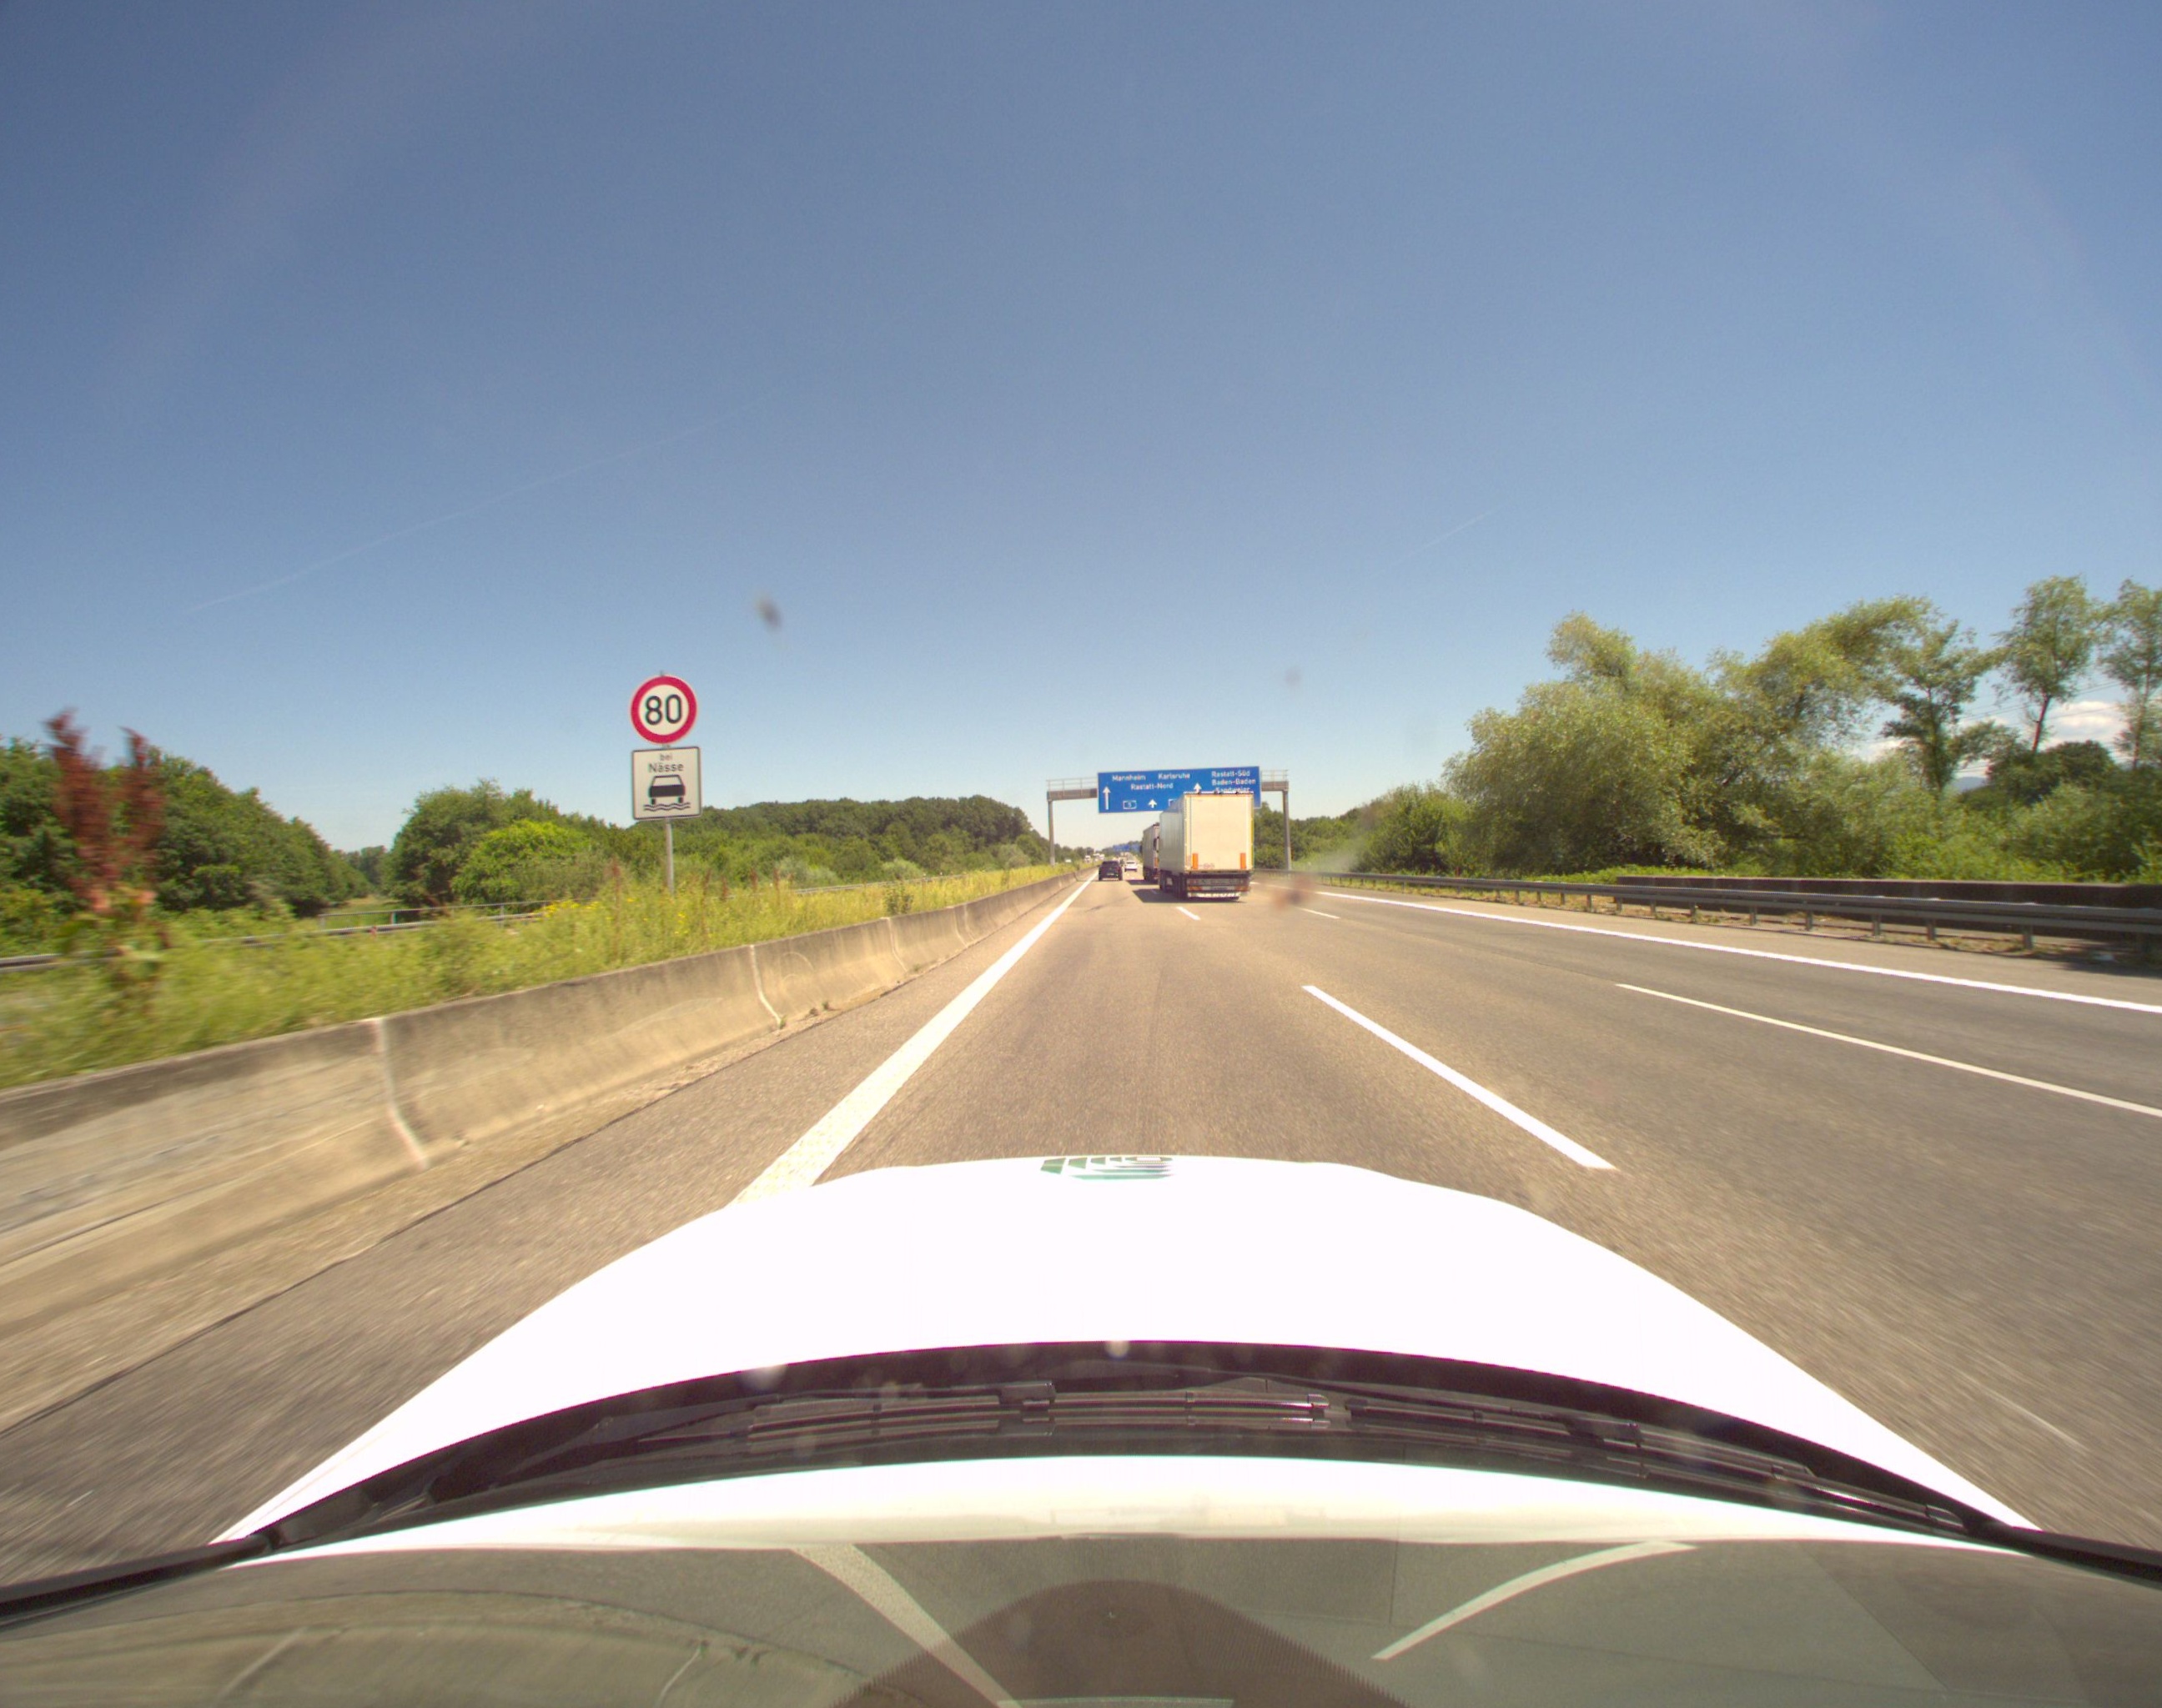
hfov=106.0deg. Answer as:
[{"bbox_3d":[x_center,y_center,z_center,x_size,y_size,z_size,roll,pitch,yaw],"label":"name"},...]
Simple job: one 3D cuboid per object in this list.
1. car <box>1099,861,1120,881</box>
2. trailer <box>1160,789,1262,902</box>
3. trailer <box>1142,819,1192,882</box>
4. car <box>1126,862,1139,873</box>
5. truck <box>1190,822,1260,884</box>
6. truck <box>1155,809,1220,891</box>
[{"bbox_3d":[2.392,1.401,68.263,1.654,1.549,3.783,-1,-1,1],"label":"car"},{"bbox_3d":[5.325,-0.244,35.859,2.784,4.035,12.571,-1,-1,2],"label":"trailer"},{"bbox_3d":[6.180,-0.101,60.417,2.697,4.068,14.753,-1,-1,2],"label":"trailer"},{"bbox_3d":[7.542,1.987,119.516,1.733,1.486,4.002,-1,-1,2],"label":"car"},{"bbox_3d":[10.459,0.018,60.698,3.045,4.106,13.219,-1,-1,1],"label":"truck"},{"bbox_3d":[5.549,-0.163,43.247,2.789,4.007,6.022,-1,-1,2],"label":"truck"}]
